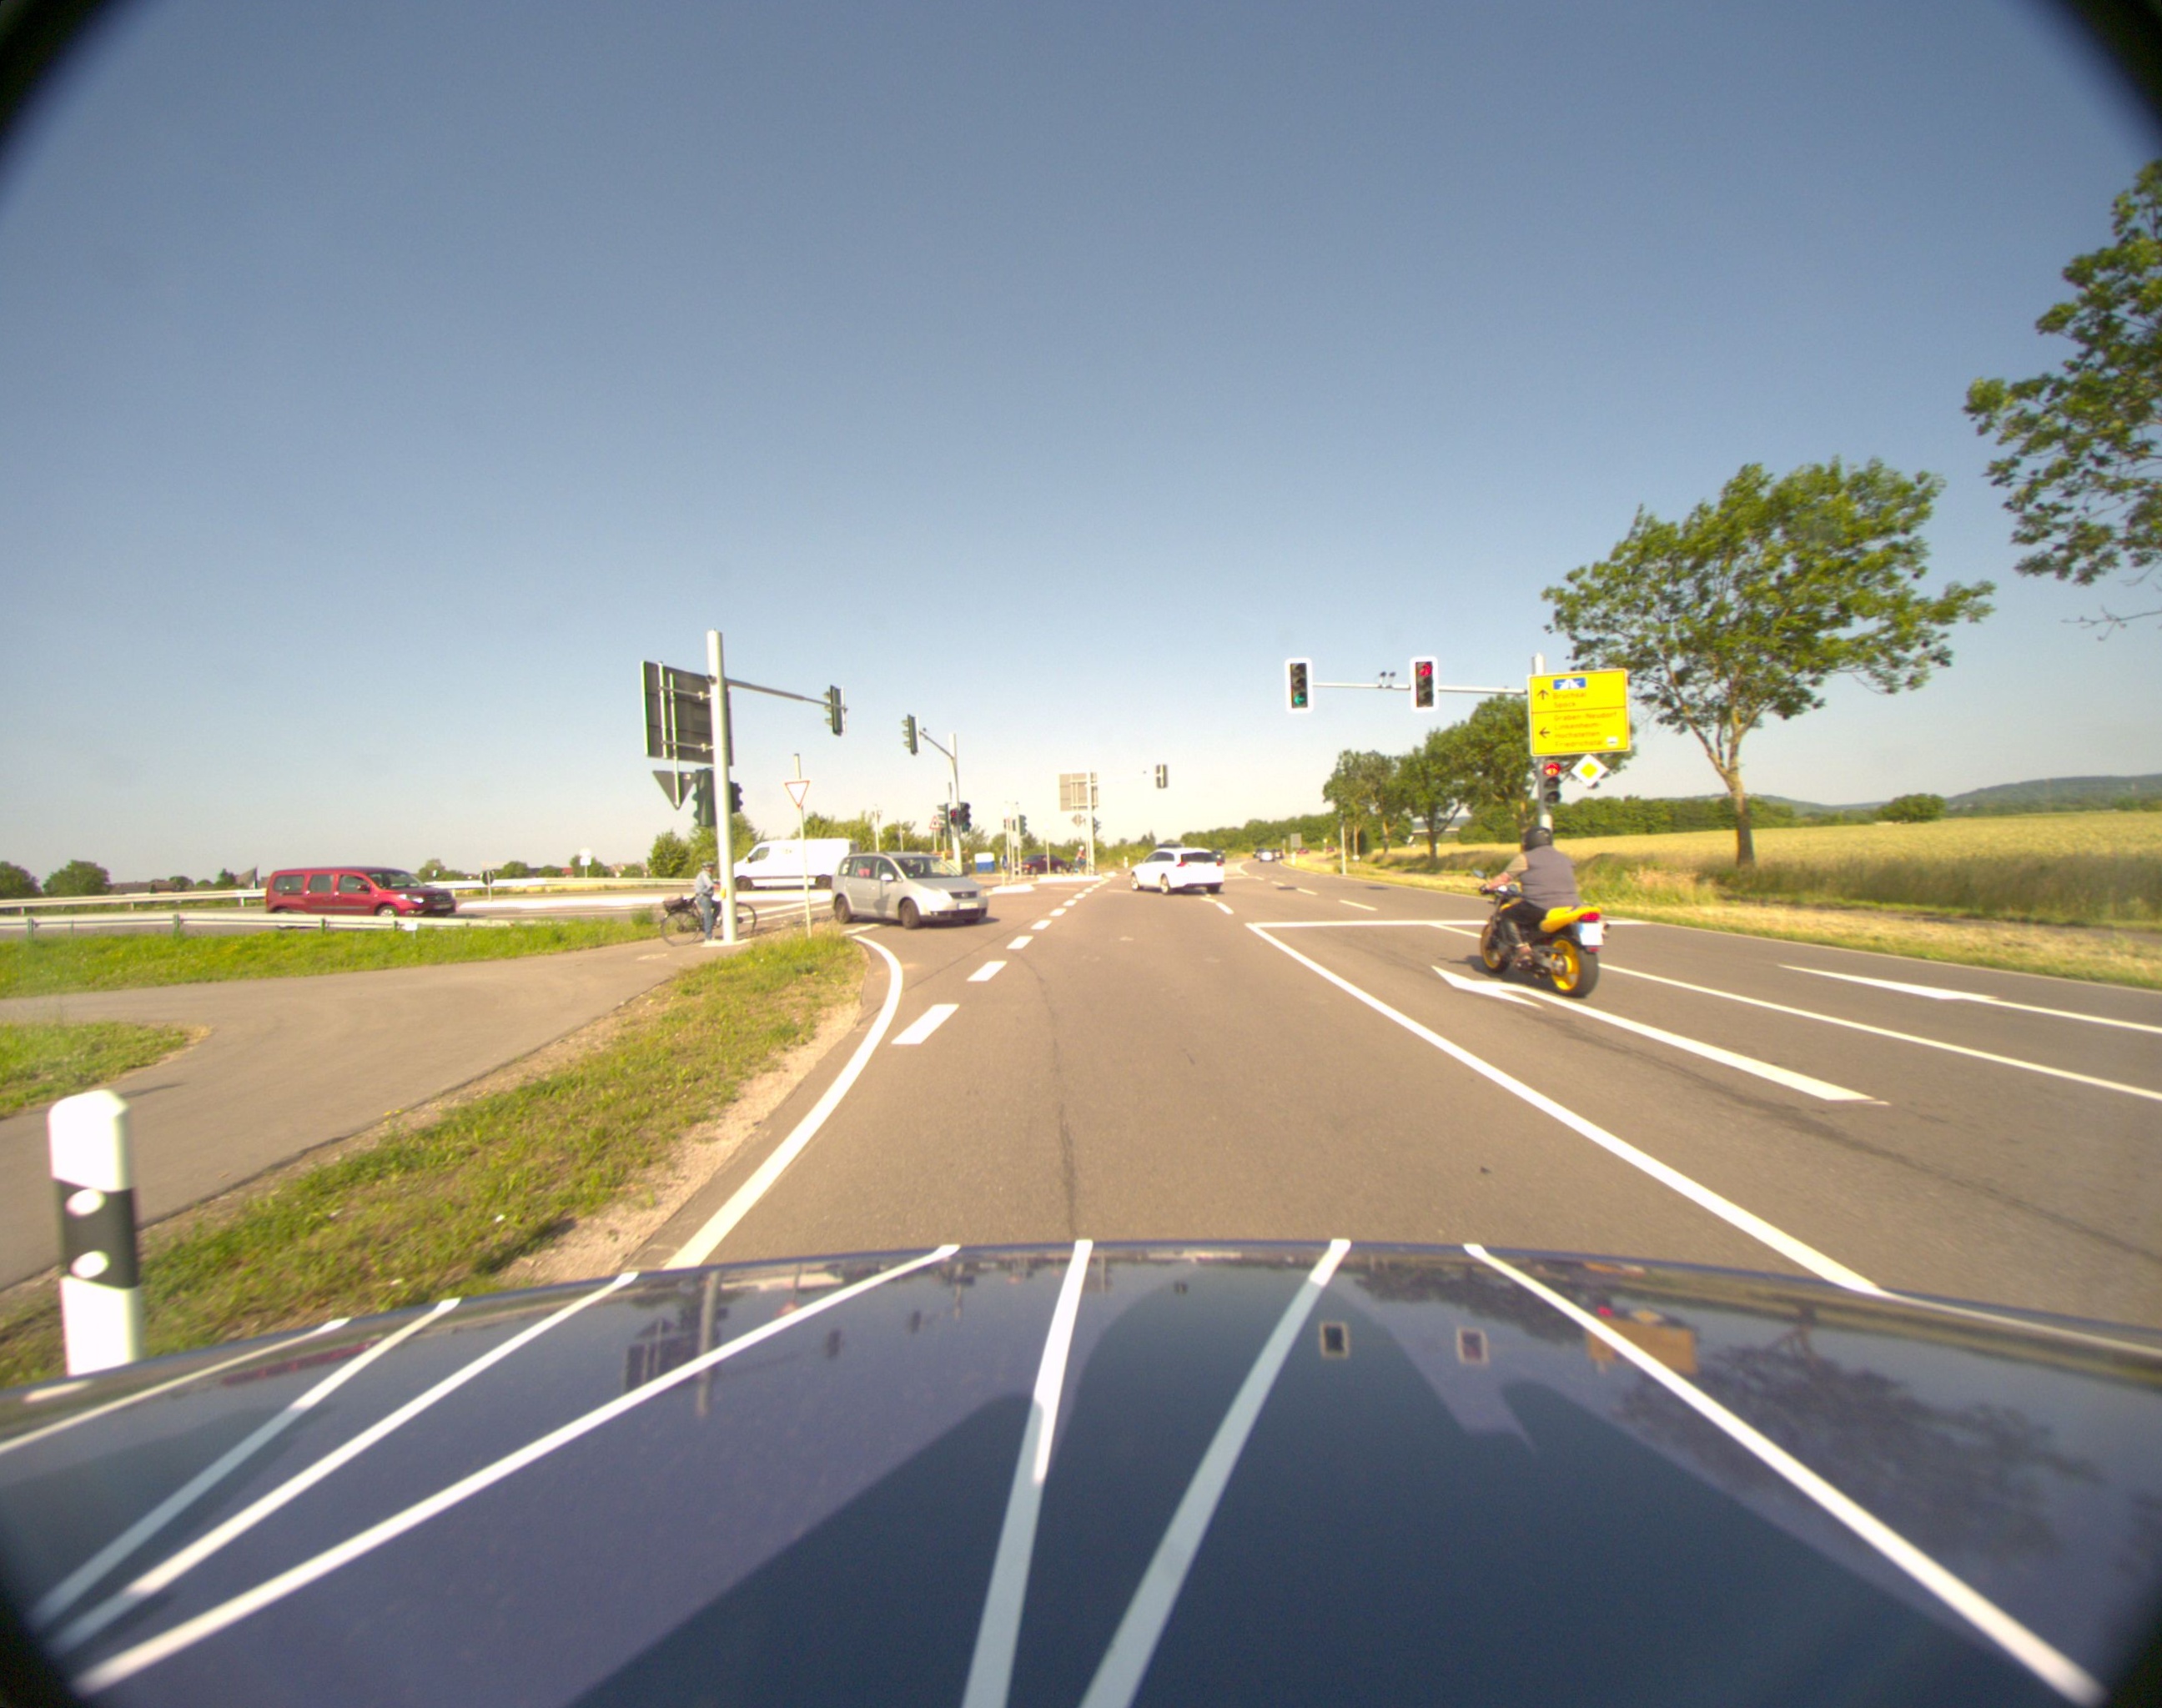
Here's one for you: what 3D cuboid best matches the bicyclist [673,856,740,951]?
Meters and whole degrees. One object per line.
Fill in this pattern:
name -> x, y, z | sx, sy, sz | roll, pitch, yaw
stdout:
bicyclist -> -7.460, 0.958, 15.133 | 0.919, 1.756, 0.618 | -7, 5, -40

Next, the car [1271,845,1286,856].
car -> 29.170, -0.496, 112.167 | 1.886, 1.616, 4.005 | 0, 1, 18

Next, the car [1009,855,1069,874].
car -> -2.726, 0.687, 49.764 | 1.735, 1.106, 4.008 | 0, 1, 36

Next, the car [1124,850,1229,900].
car -> 3.089, 0.624, 25.584 | 1.766, 1.483, 4.701 | -2, 1, -16

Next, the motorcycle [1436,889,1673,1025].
motorcycle -> 4.668, 0.947, 7.792 | 0.899, 1.037, 2.428 | -2, 0, 0

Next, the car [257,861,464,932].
car -> -21.686, 1.249, 22.967 | 4.694, 1.826, 1.694 | -3, 1, 3

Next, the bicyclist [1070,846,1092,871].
bicyclist -> -0.003, 0.268, 42.212 | 1.072, 1.344, 0.859 | -1, 2, 7

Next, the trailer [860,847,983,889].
trailer -> -7.154, 0.604, 34.287 | 5.005, 1.728, 1.982 | -1, 1, 8

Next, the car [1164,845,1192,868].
car -> 7.028, 0.172, 54.842 | 1.860, 1.533, 4.002 | -2, 0, 8

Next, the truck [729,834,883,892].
truck -> -12.528, 0.397, 34.918 | 6.194, 2.391, 2.071 | -2, 1, 0

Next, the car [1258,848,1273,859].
car -> 22.066, -0.085, 90.775 | 1.631, 1.369, 4.426 | 0, 1, 13

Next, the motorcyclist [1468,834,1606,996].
motorcyclist -> 4.599, 0.574, 7.753 | 0.680, 1.506, 1.181 | -2, 1, 1

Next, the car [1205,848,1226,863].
car -> 15.122, 0.176, 85.375 | 1.859, 1.533, 4.005 | -2, 0, 17

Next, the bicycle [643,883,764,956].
bicycle -> -7.477, 1.261, 15.101 | 1.948, 1.145, 0.679 | -7, 5, -40

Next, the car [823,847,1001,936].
car -> -3.867, 0.770, 16.962 | 4.203, 1.685, 1.760 | -2, 1, 43

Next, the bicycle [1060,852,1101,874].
bicycle -> -0.026, 0.508, 42.200 | 2.148, 1.143, 1.074 | -1, 2, 7
